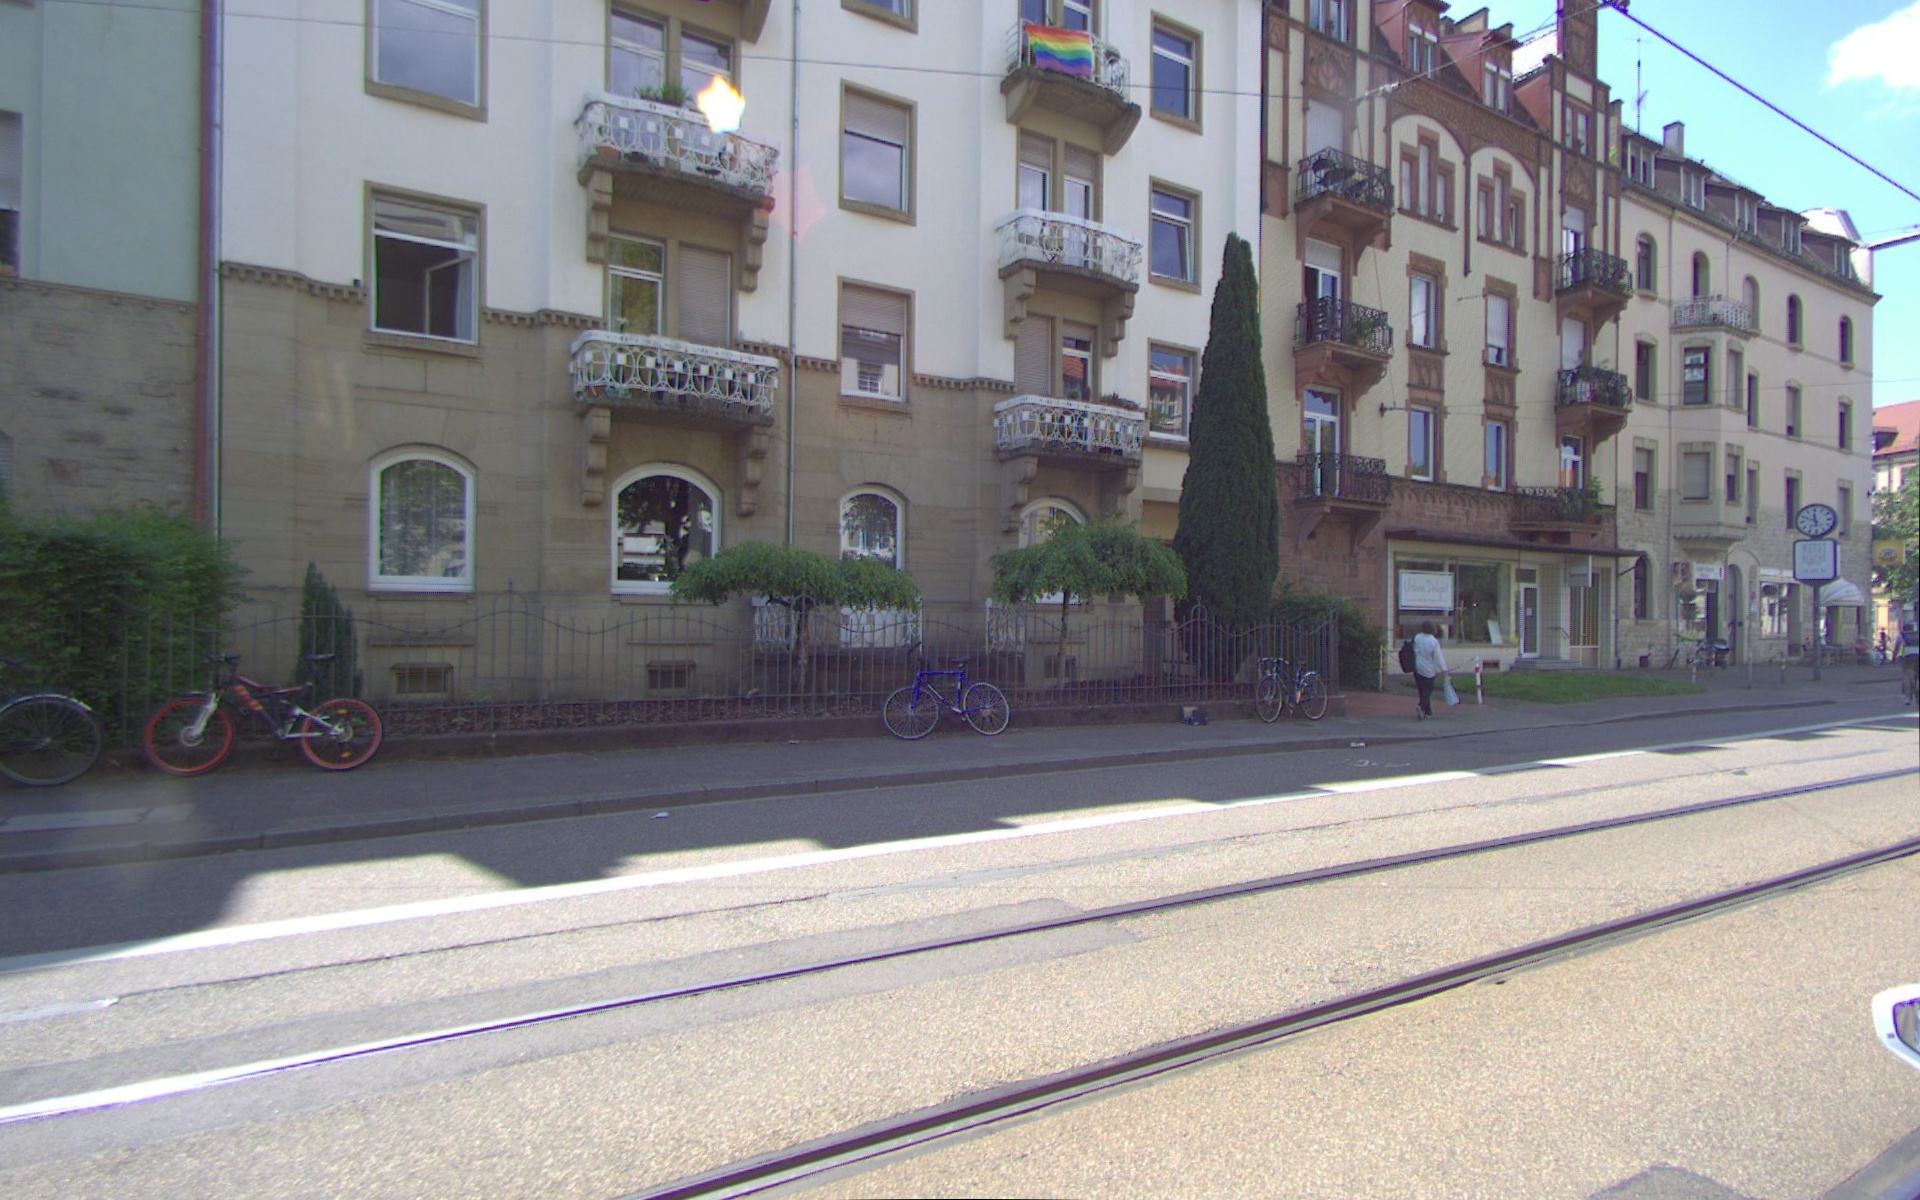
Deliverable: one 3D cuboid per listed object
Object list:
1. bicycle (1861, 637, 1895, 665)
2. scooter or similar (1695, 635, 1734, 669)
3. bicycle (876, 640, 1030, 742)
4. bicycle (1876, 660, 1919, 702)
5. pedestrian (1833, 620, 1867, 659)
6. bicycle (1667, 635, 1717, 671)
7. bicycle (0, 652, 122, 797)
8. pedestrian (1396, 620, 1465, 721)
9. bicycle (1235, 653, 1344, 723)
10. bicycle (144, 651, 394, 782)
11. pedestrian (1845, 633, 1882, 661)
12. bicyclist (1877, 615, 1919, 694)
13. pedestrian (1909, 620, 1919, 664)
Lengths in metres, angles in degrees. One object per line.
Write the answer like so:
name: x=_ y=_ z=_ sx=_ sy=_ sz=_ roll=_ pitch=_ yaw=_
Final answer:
bicycle: x=39.098 y=2.183 z=42.788 sx=0.534 sy=1.143 sz=1.682 roll=1 pitch=-3 yaw=22
scooter or similar: x=25.461 y=1.744 z=33.922 sx=0.682 sy=1.058 sz=1.210 roll=2 pitch=0 yaw=19
bicycle: x=-0.071 y=1.050 z=11.961 sx=1.751 sy=1.079 sz=0.604 roll=1 pitch=3 yaw=-31
bicycle: x=20.880 y=1.781 z=22.329 sx=0.744 sy=0.828 sz=1.810 roll=0 pitch=-1 yaw=43
pedestrian: x=37.462 y=1.647 z=42.277 sx=0.801 sy=1.616 sz=0.911 roll=1 pitch=-1 yaw=-34
bicycle: x=23.859 y=1.723 z=32.740 sx=1.438 sy=1.080 sz=0.370 roll=2 pitch=0 yaw=-7
bicycle: x=-7.301 y=0.919 z=7.388 sx=1.688 sy=1.013 sz=0.462 roll=1 pitch=2 yaw=-31
pedestrian: x=7.577 y=1.109 z=16.223 sx=0.886 sy=1.563 sz=0.984 roll=0 pitch=-1 yaw=18
bicycle: x=4.957 y=1.309 z=15.061 sx=1.820 sy=0.973 sz=0.408 roll=2 pitch=2 yaw=-31
bicycle: x=-5.782 y=0.950 z=8.509 sx=1.706 sy=0.979 sz=0.411 roll=1 pitch=2 yaw=-31
pedestrian: x=36.388 y=1.903 z=40.458 sx=0.872 sy=1.092 sz=0.912 roll=1 pitch=-1 yaw=-29
bicyclist: x=20.894 y=1.191 z=22.297 sx=0.747 sy=1.685 sz=0.826 roll=2 pitch=0 yaw=42
pedestrian: x=39.299 y=1.713 z=40.786 sx=0.760 sy=1.756 sz=0.863 roll=1 pitch=0 yaw=14
